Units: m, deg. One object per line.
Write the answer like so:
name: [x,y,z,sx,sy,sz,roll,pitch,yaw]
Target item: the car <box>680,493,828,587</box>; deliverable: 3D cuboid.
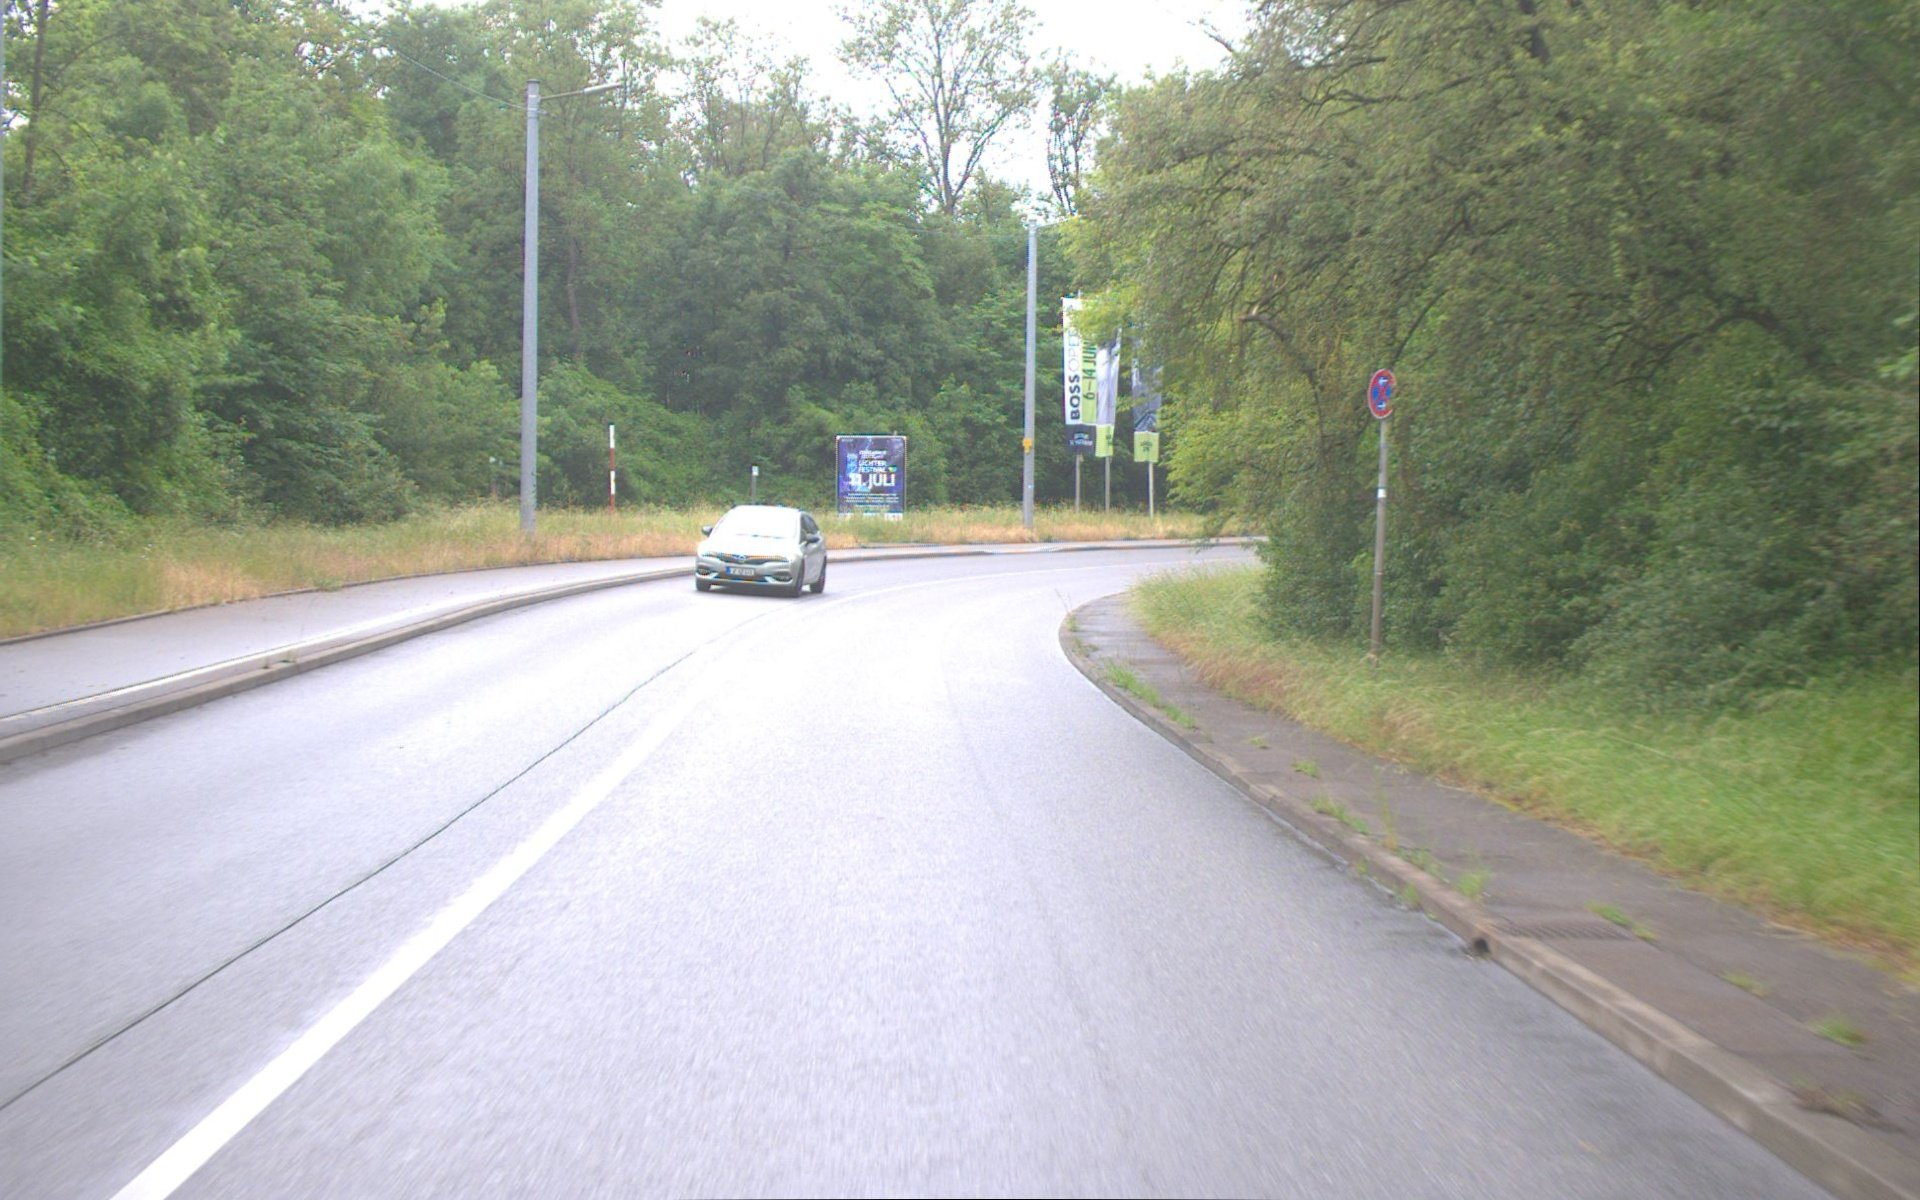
car: [-3.478,-1.060,58.766,1.780,1.425,4.474,4,2,5]
